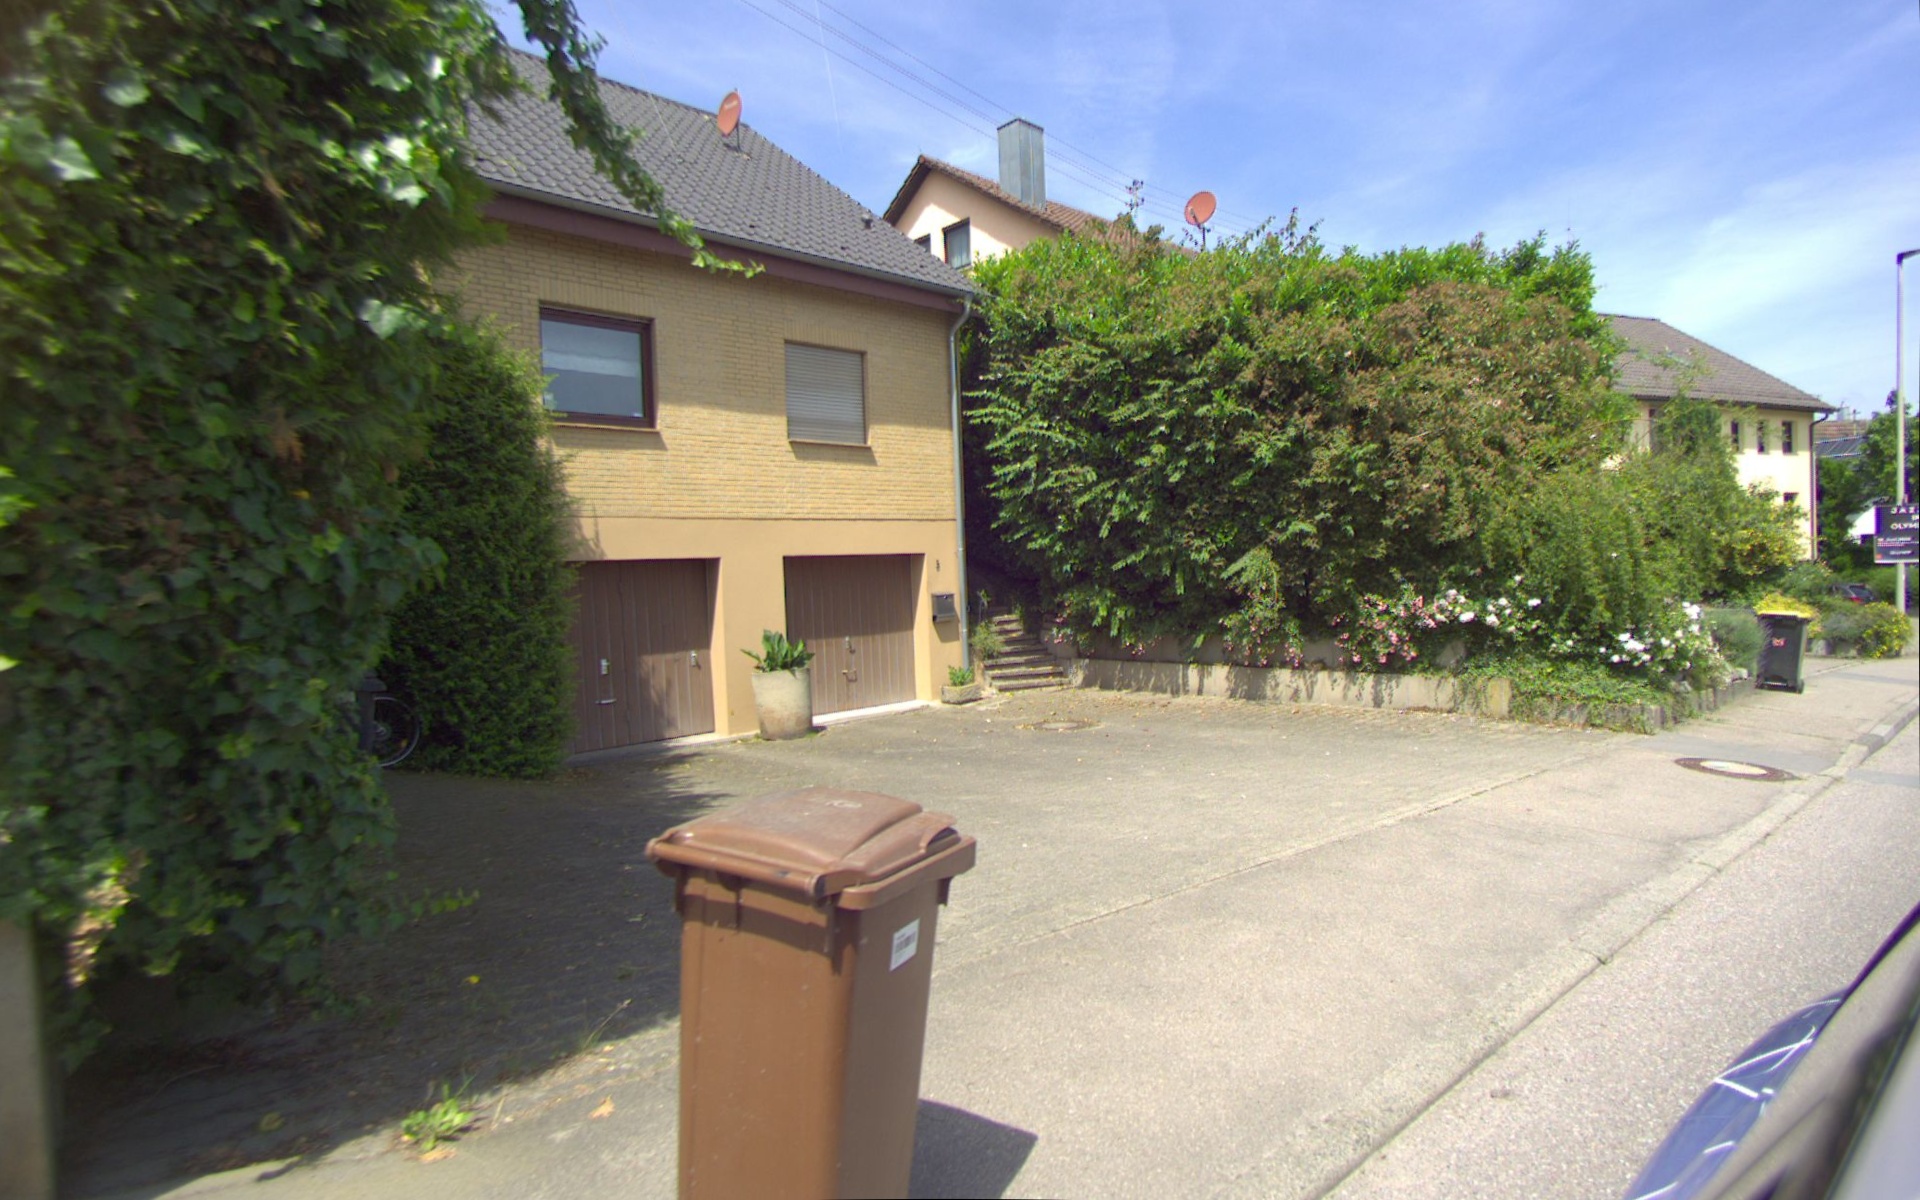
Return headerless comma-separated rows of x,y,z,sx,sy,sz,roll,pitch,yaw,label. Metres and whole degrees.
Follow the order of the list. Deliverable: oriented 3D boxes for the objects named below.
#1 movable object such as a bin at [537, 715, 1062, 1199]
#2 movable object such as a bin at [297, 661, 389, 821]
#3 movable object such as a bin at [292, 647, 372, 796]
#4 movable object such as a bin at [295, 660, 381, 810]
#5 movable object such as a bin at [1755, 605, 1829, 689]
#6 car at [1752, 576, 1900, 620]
-0.298,0.783,1.907,0.772,0.989,0.589,0,3,-42,movable object such as a bin
-4.136,0.919,6.785,0.465,0.985,0.386,0,0,-42,movable object such as a bin
-4.812,0.908,7.755,0.465,1.064,0.401,0,0,-42,movable object such as a bin
-4.438,0.940,7.224,0.465,0.985,0.386,0,0,-42,movable object such as a bin
11.255,0.613,13.694,0.903,1.072,0.590,0,1,-39,movable object such as a bin
30.830,-0.116,36.137,1.610,1.435,3.700,-2,2,-23,car
